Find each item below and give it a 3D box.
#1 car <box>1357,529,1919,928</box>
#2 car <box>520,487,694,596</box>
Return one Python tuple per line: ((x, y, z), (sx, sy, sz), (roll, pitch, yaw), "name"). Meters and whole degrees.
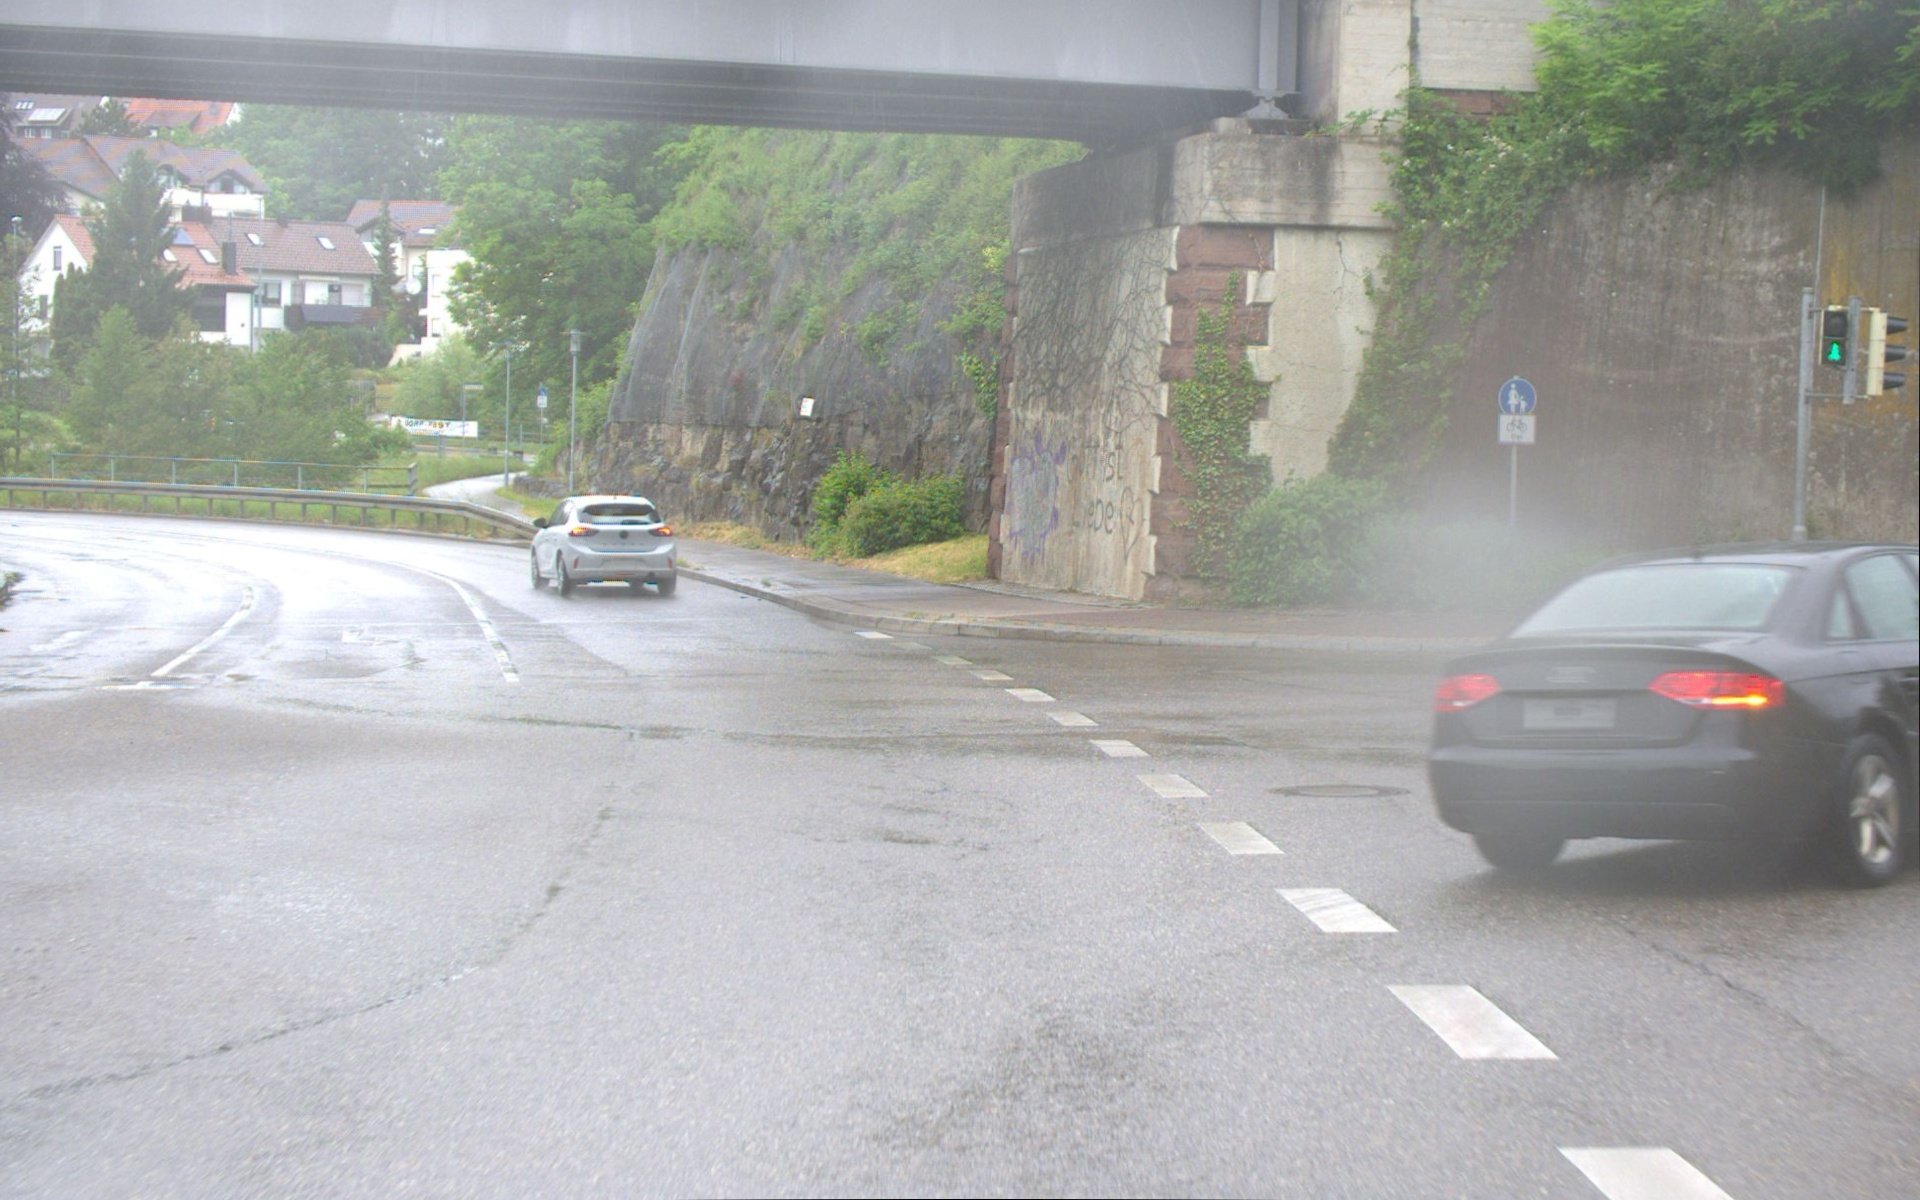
((3.624, 0.441, 15.221), (1.896, 1.487, 4.199), (0, 1, 36), "car")
((-5.359, -0.892, 51.706), (1.993, 1.557, 4.001), (-1, 1, -15), "car")
